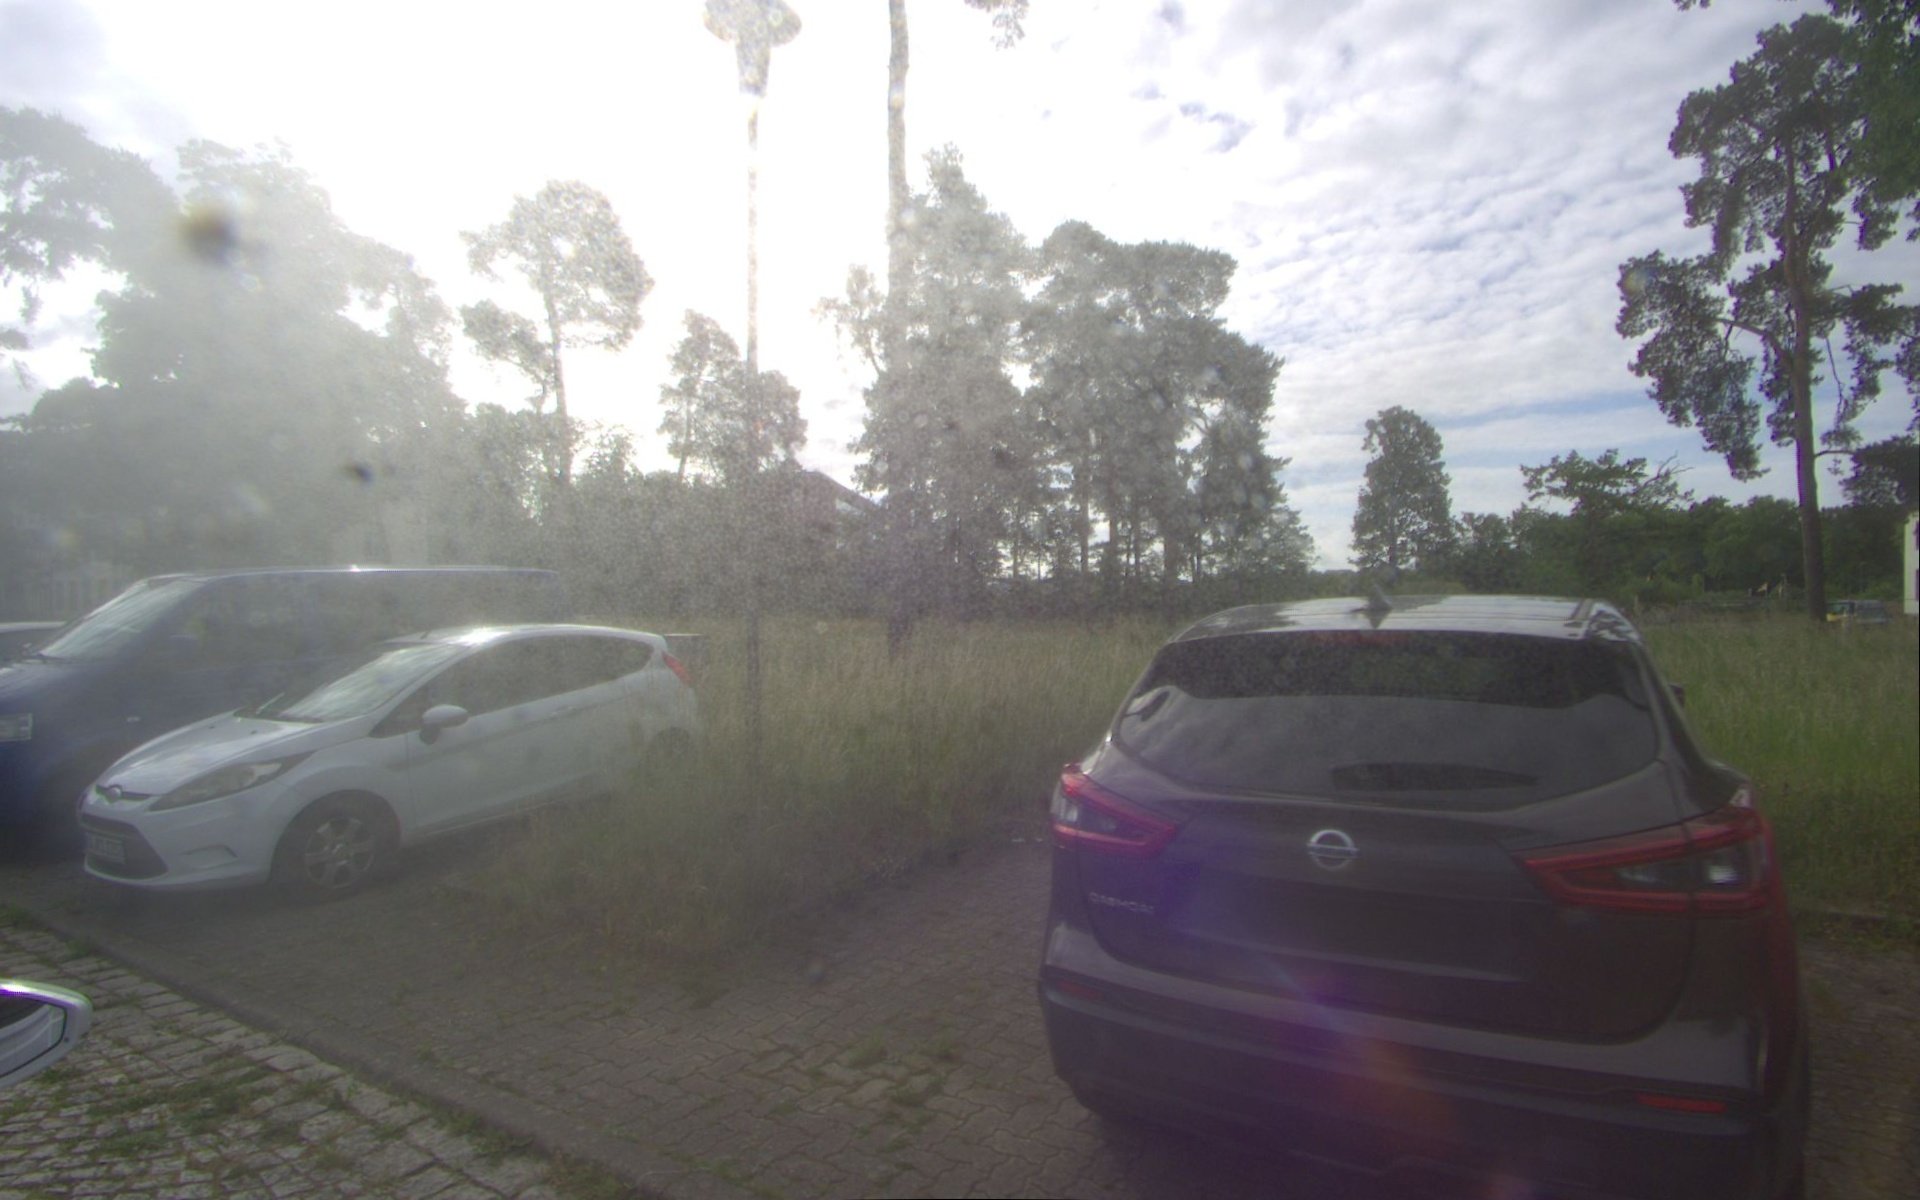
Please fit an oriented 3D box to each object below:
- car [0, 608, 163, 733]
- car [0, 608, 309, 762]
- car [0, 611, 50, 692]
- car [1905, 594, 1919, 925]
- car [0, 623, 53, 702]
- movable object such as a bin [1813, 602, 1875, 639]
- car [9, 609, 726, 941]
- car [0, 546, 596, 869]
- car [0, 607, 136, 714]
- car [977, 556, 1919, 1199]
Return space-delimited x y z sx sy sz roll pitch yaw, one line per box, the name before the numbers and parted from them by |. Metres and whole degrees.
car | -12.657 0.901 12.509 1.732 1.492 3.855 0 1 31
car | -9.983 0.886 11.463 1.732 1.492 3.855 0 1 31
car | -18.883 0.977 17.342 1.844 1.436 4.252 0 1 32
car | 4.164 0.746 2.595 1.740 1.506 3.997 0 1 32
car | -16.986 1.061 15.616 1.732 1.253 3.855 0 1 31
movable object such as a bin | 51.237 1.179 58.040 3.194 2.040 1.674 0 0 -27
car | -3.668 0.863 6.924 1.814 1.492 3.855 0 1 31
car | -5.692 0.625 8.374 1.974 1.972 4.798 0 1 31
car | -14.701 0.898 14.527 1.732 1.492 3.855 0 1 31
car | 1.897 0.722 3.747 1.795 1.620 4.252 0 1 31
